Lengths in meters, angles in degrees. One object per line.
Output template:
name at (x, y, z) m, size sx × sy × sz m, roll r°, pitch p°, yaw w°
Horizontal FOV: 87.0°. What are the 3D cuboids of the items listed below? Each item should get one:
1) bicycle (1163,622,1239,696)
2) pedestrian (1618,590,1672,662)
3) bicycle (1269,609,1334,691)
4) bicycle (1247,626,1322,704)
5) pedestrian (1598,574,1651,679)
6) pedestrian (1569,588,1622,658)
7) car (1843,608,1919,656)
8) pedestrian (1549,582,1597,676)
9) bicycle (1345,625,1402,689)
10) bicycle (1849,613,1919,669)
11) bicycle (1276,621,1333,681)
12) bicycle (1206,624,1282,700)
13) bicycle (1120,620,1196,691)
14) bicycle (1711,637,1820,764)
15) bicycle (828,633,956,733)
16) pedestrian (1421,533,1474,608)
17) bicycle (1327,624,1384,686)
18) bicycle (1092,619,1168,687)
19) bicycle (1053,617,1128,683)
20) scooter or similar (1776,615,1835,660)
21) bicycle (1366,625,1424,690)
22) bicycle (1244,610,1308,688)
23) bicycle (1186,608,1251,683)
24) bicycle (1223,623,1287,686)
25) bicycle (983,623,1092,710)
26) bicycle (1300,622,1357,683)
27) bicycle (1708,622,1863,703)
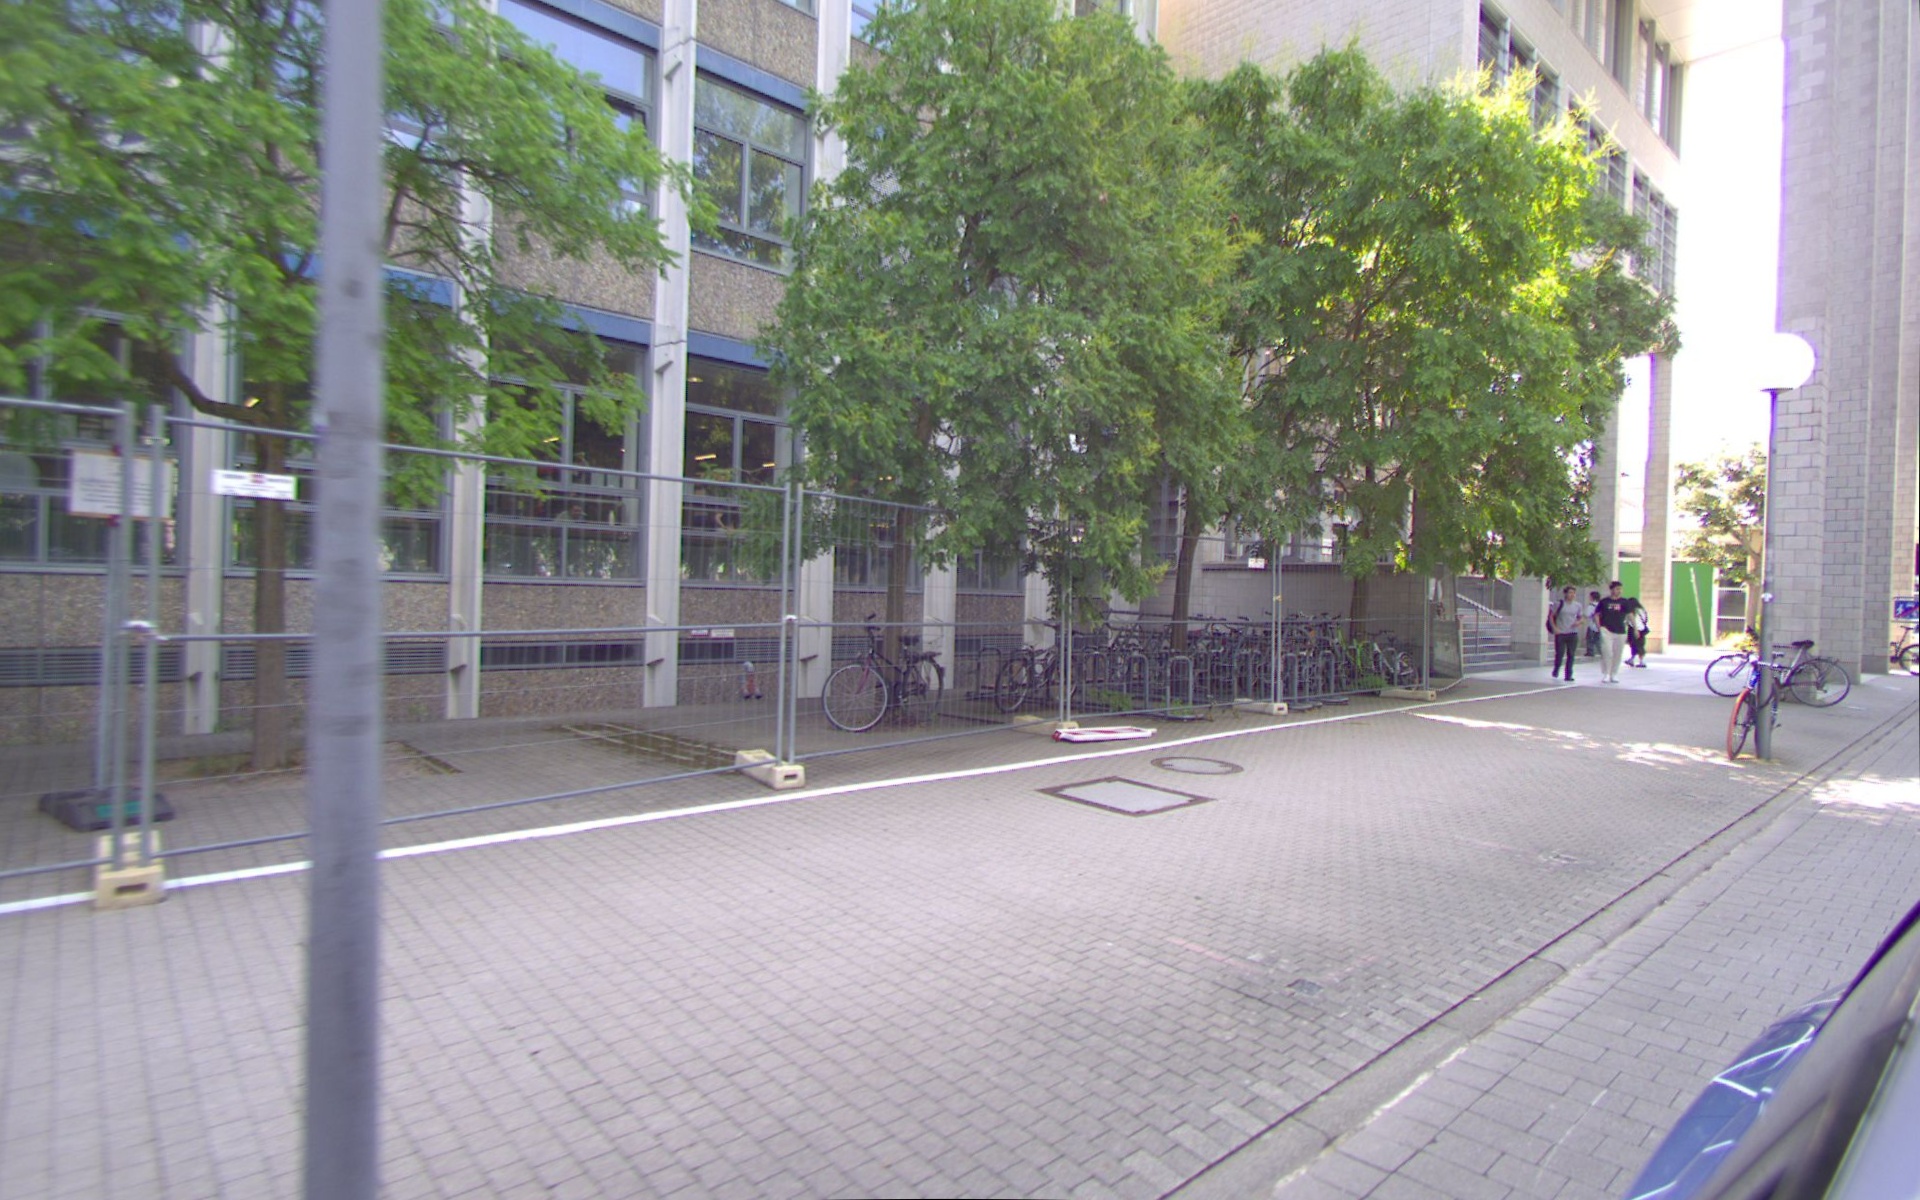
bicycle at (3.241, 0.764, 13.533) m, size 0.290 × 0.917 × 1.425 m, roll 1°, pitch 0°, yaw 44°
pedestrian at (15.920, 0.587, 23.536) m, size 0.796 × 1.637 × 0.737 m, roll 2°, pitch 0°, yaw 16°
bicycle at (5.031, 0.714, 14.869) m, size 0.290 × 1.142 × 1.425 m, roll 1°, pitch 0°, yaw 44°
bicycle at (4.126, 0.796, 12.804) m, size 0.290 × 0.917 × 1.425 m, roll 1°, pitch 0°, yaw 44°
pedestrian at (11.979, 0.459, 18.258) m, size 0.697 × 1.826 × 0.873 m, roll 2°, pitch 0°, yaw 30°
pedestrian at (15.882, 0.568, 25.299) m, size 0.661 × 1.691 × 0.900 m, roll 2°, pitch 0°, yaw -30°
car at (32.712, 1.095, 34.479) m, size 1.625 × 1.494 × 3.773 m, roll -1°, pitch 2°, yaw -42°
pedestrian at (11.308, 0.519, 18.693) m, size 0.697 × 1.676 × 0.873 m, roll 2°, pitch 0°, yaw 30°
bicycle at (6.316, 0.848, 15.429) m, size 0.290 × 0.917 × 1.425 m, roll 1°, pitch 0°, yaw 44°
bicycle at (21.473, 0.956, 22.965) m, size 1.881 × 1.178 × 0.595 m, roll 4°, pitch 1°, yaw 44°
bicycle at (5.612, 0.803, 16.440) m, size 0.290 × 0.917 × 1.425 m, roll 1°, pitch 0°, yaw 44°
bicycle at (3.704, 0.781, 13.144) m, size 0.290 × 0.917 × 1.425 m, roll 1°, pitch 0°, yaw 44°
bicycle at (2.762, 0.751, 14.010) m, size 0.290 × 0.917 × 1.425 m, roll 1°, pitch 0°, yaw 44°
bicycle at (7.778, 0.913, 9.746) m, size 1.827 × 1.052 × 0.538 m, roll 0°, pitch 1°, yaw -43°
bicycle at (-0.667, 0.822, 10.435) m, size 0.290 × 0.917 × 1.596 m, roll 1°, pitch 0°, yaw 39°
pedestrian at (12.150, -0.719, 25.248) m, size 0.756 × 1.837 × 0.960 m, roll 1°, pitch -1°, yaw -37°
bicycle at (6.182, 0.839, 15.783) m, size 0.290 × 0.917 × 1.425 m, roll 1°, pitch 0°, yaw 44°
bicycle at (2.429, 0.732, 14.392) m, size 0.290 × 0.917 × 1.425 m, roll 1°, pitch 0°, yaw 44°
bicycle at (1.948, 0.718, 14.958) m, size 0.290 × 0.917 × 1.425 m, roll 1°, pitch 0°, yaw 44°
scooter or similar at (23.312, 1.021, 27.909) m, size 0.436 × 1.166 × 1.158 m, roll 2°, pitch 0°, yaw -37°
bicycle at (6.533, 0.839, 15.170) m, size 0.290 × 0.917 × 1.425 m, roll 1°, pitch 0°, yaw 44°
bicycle at (4.734, 0.704, 15.129) m, size 0.290 × 1.108 × 1.425 m, roll 1°, pitch 0°, yaw 44°
bicycle at (4.068, 0.692, 15.867) m, size 0.290 × 1.113 × 1.425 m, roll 1°, pitch 0°, yaw 44°
bicycle at (4.494, 0.809, 15.385) m, size 0.290 × 0.898 × 1.425 m, roll 1°, pitch 0°, yaw 44°
bicycle at (0.931, 0.742, 11.799) m, size 0.290 × 0.917 × 1.779 m, roll 1°, pitch 0°, yaw 39°
bicycle at (5.889, 0.819, 16.140) m, size 0.290 × 0.917 × 1.425 m, roll 1°, pitch 0°, yaw 44°
bicycle at (12.228, 0.896, 15.035) m, size 1.739 × 1.052 × 0.442 m, roll 3°, pitch 0°, yaw 44°
